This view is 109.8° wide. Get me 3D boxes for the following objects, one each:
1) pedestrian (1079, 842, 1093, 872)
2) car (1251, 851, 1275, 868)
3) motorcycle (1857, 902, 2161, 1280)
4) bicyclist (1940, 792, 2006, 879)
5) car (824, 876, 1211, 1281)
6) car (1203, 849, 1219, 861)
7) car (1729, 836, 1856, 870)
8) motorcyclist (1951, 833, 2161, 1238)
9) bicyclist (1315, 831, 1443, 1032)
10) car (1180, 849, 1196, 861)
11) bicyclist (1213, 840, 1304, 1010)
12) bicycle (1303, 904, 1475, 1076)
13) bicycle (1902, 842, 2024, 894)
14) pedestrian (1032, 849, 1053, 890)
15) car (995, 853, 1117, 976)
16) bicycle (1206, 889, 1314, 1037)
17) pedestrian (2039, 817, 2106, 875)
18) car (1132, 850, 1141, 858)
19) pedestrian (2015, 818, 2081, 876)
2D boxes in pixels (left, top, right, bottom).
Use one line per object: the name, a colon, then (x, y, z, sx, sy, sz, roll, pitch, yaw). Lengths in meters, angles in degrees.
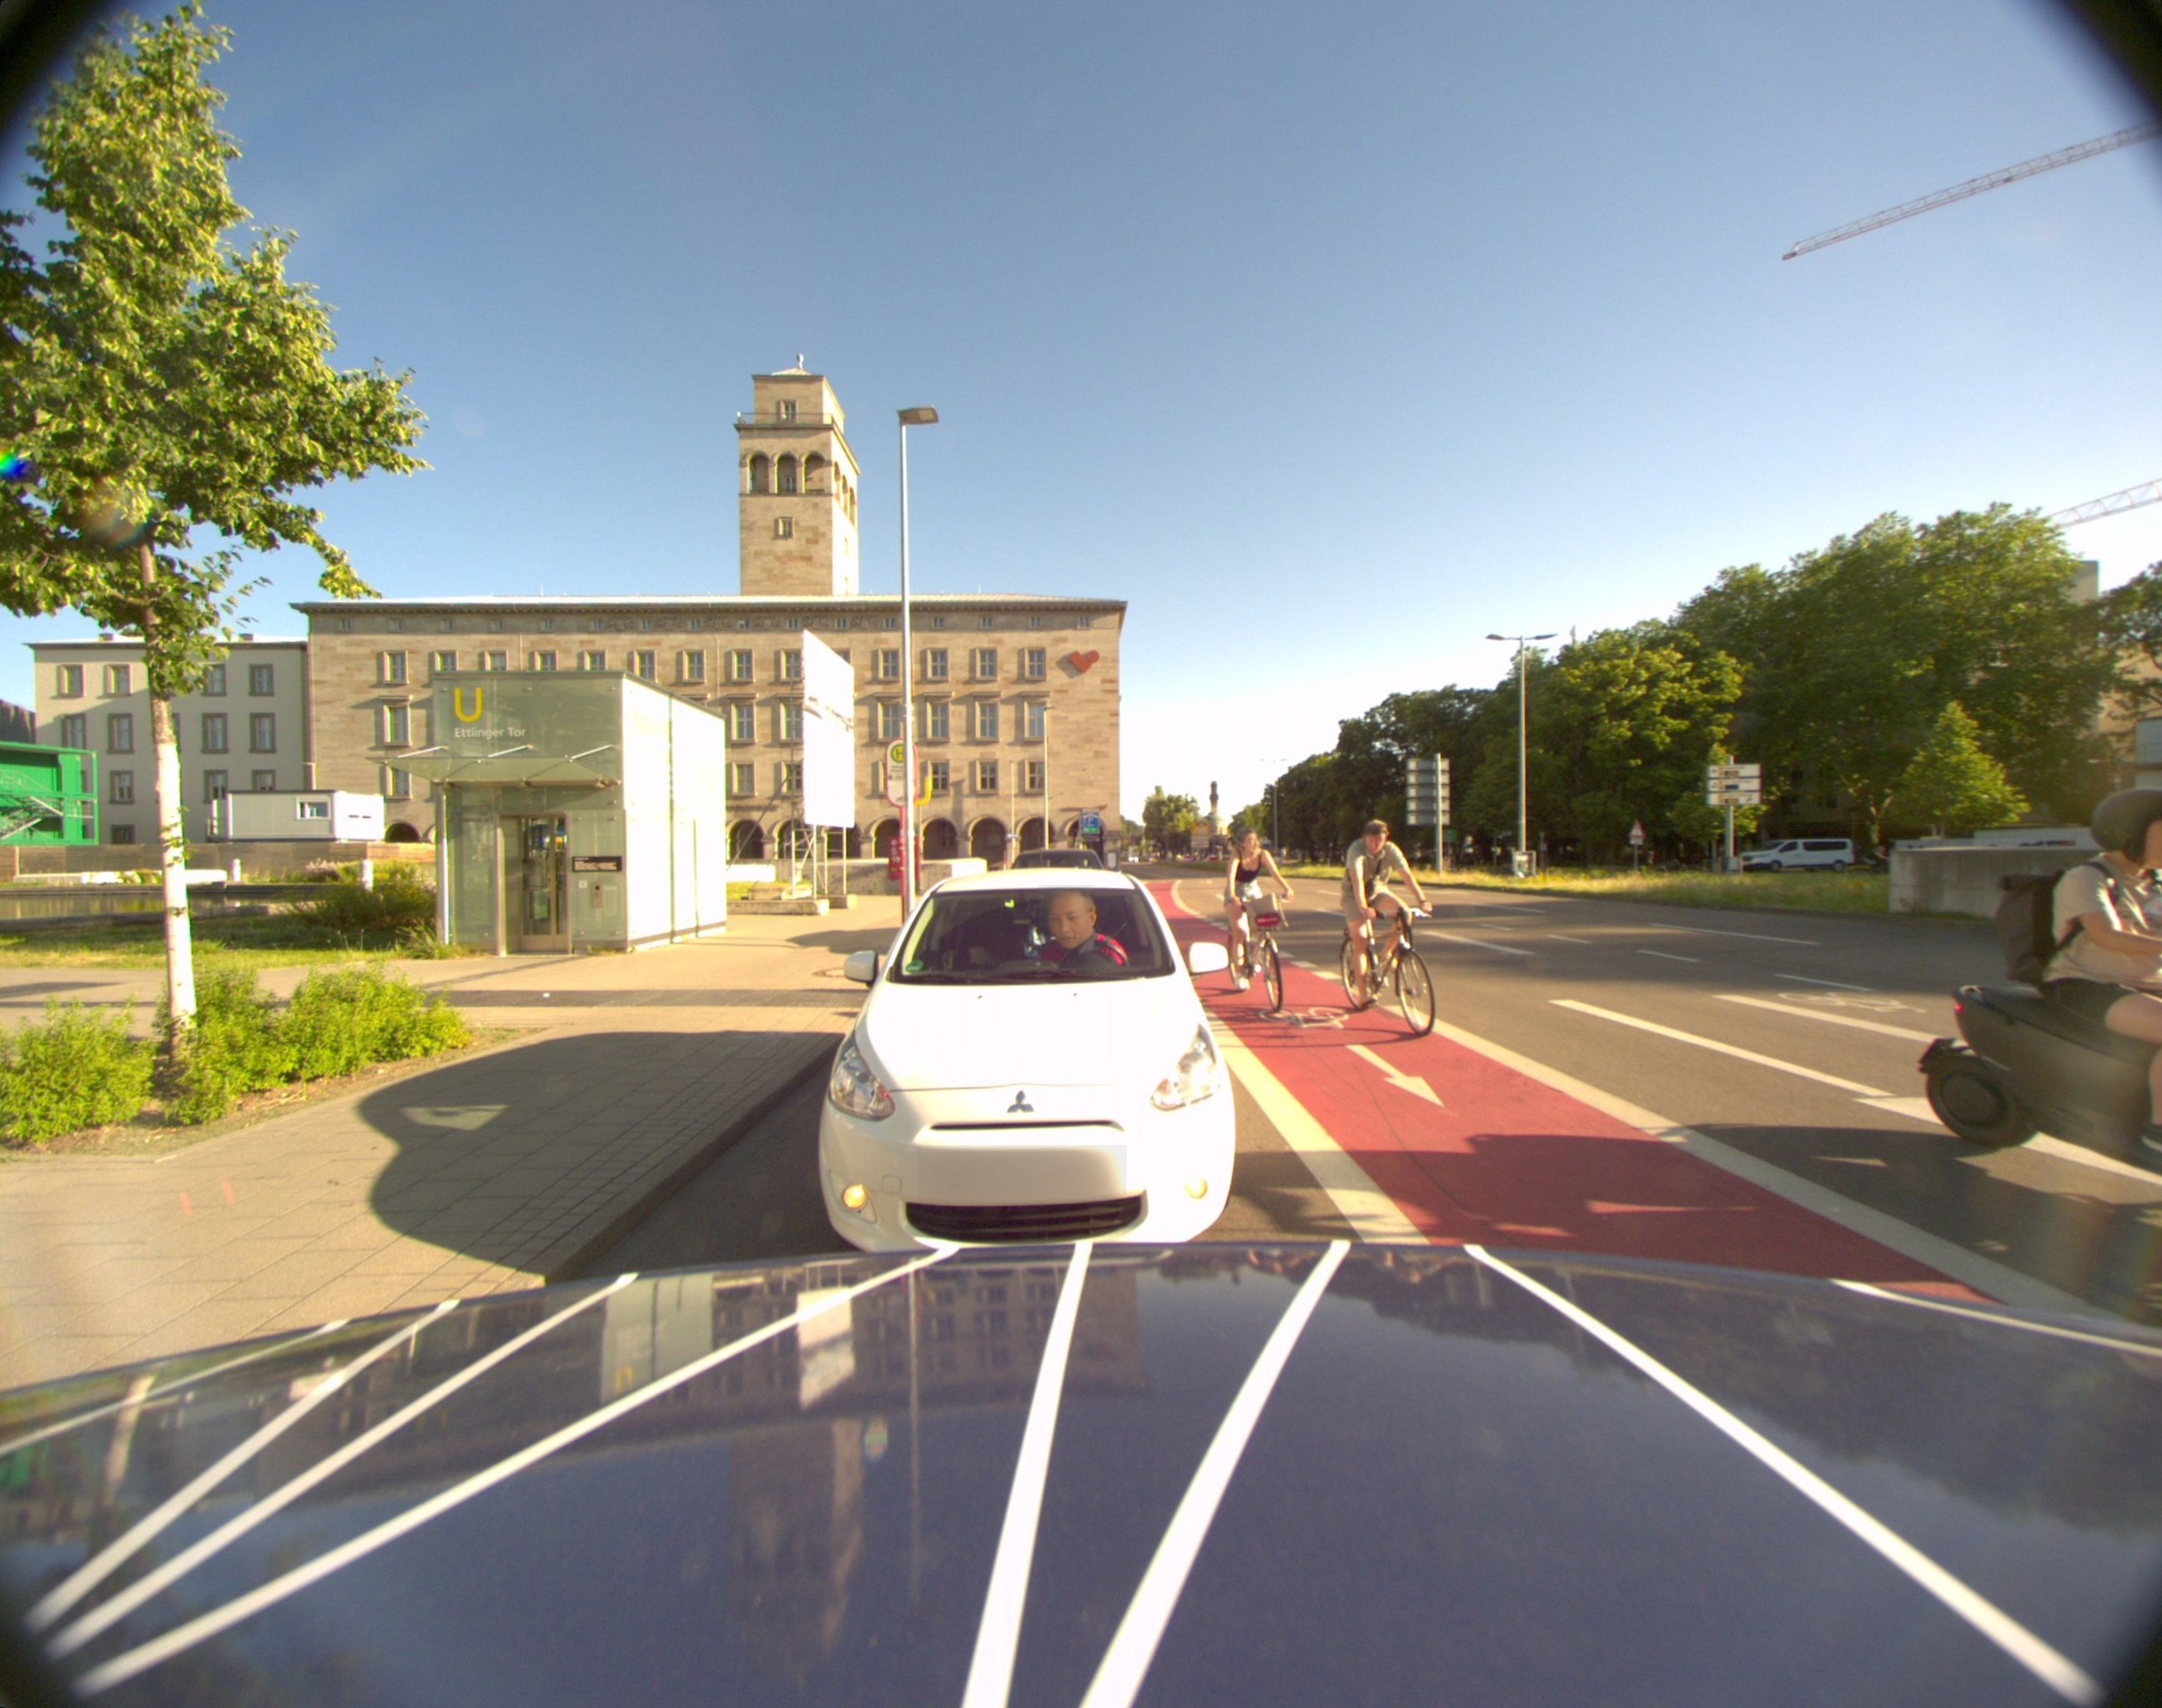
pedestrian: (0.450, 0.263, 64.677, 1.122, 2.524, 1.055, -2, 1, 1)
car: (20.843, 0.578, 87.079, 1.819, 1.817, 3.999, -2, 1, 1)
motorcycle: (4.288, 0.900, 2.894, 0.724, 1.286, 1.884, -2, 0, 1)
bicyclist: (32.631, -0.658, 27.824, 0.841, 3.085, 1.306, -2, 1, -1)
car: (-0.229, 0.956, 4.847, 1.496, 1.477, 3.604, -2, 0, 1)
car: (20.593, 0.122, 120.448, 1.747, 1.778, 3.947, -2, 1, 1)
car: (42.139, -0.053, 45.118, 5.516, 1.924, 2.065, -1, 1, 2)
motorcyclist: (4.280, 0.656, 2.947, 0.727, 1.466, 0.917, -2, 0, 1)
bicyclist: (2.521, 0.621, 6.519, 0.718, 1.596, 0.842, -2, 1, 0)
car: (16.483, 0.160, 117.320, 1.849, 1.677, 3.999, -2, 1, 1)
bicyclist: (1.736, 0.666, 7.543, 0.643, 1.570, 0.875, -2, 1, 0)
bicycle: (2.528, 1.056, 6.518, 0.648, 1.103, 1.970, -2, 0, 0)
bicycle: (32.660, 0.527, 28.239, 0.841, 1.800, 3.082, -2, -1, -1)
pedestrian: (-2.388, 0.974, 47.590, 1.122, 2.524, 1.055, -2, 1, 1)
car: (-0.368, 0.842, 12.527, 1.642, 1.653, 3.849, -2, 0, -1)
bicycle: (1.749, 1.017, 7.696, 0.617, 1.211, 1.831, -2, 0, 0)
pedestrian: (36.005, -0.289, 27.603, 0.940, 2.002, 1.137, -2, 1, -5)
car: (12.510, -0.104, 170.378, 1.849, 1.677, 4.000, -2, 1, 2)
pedestrian: (34.946, -0.262, 27.464, 0.940, 2.002, 1.137, -2, 1, -5)
